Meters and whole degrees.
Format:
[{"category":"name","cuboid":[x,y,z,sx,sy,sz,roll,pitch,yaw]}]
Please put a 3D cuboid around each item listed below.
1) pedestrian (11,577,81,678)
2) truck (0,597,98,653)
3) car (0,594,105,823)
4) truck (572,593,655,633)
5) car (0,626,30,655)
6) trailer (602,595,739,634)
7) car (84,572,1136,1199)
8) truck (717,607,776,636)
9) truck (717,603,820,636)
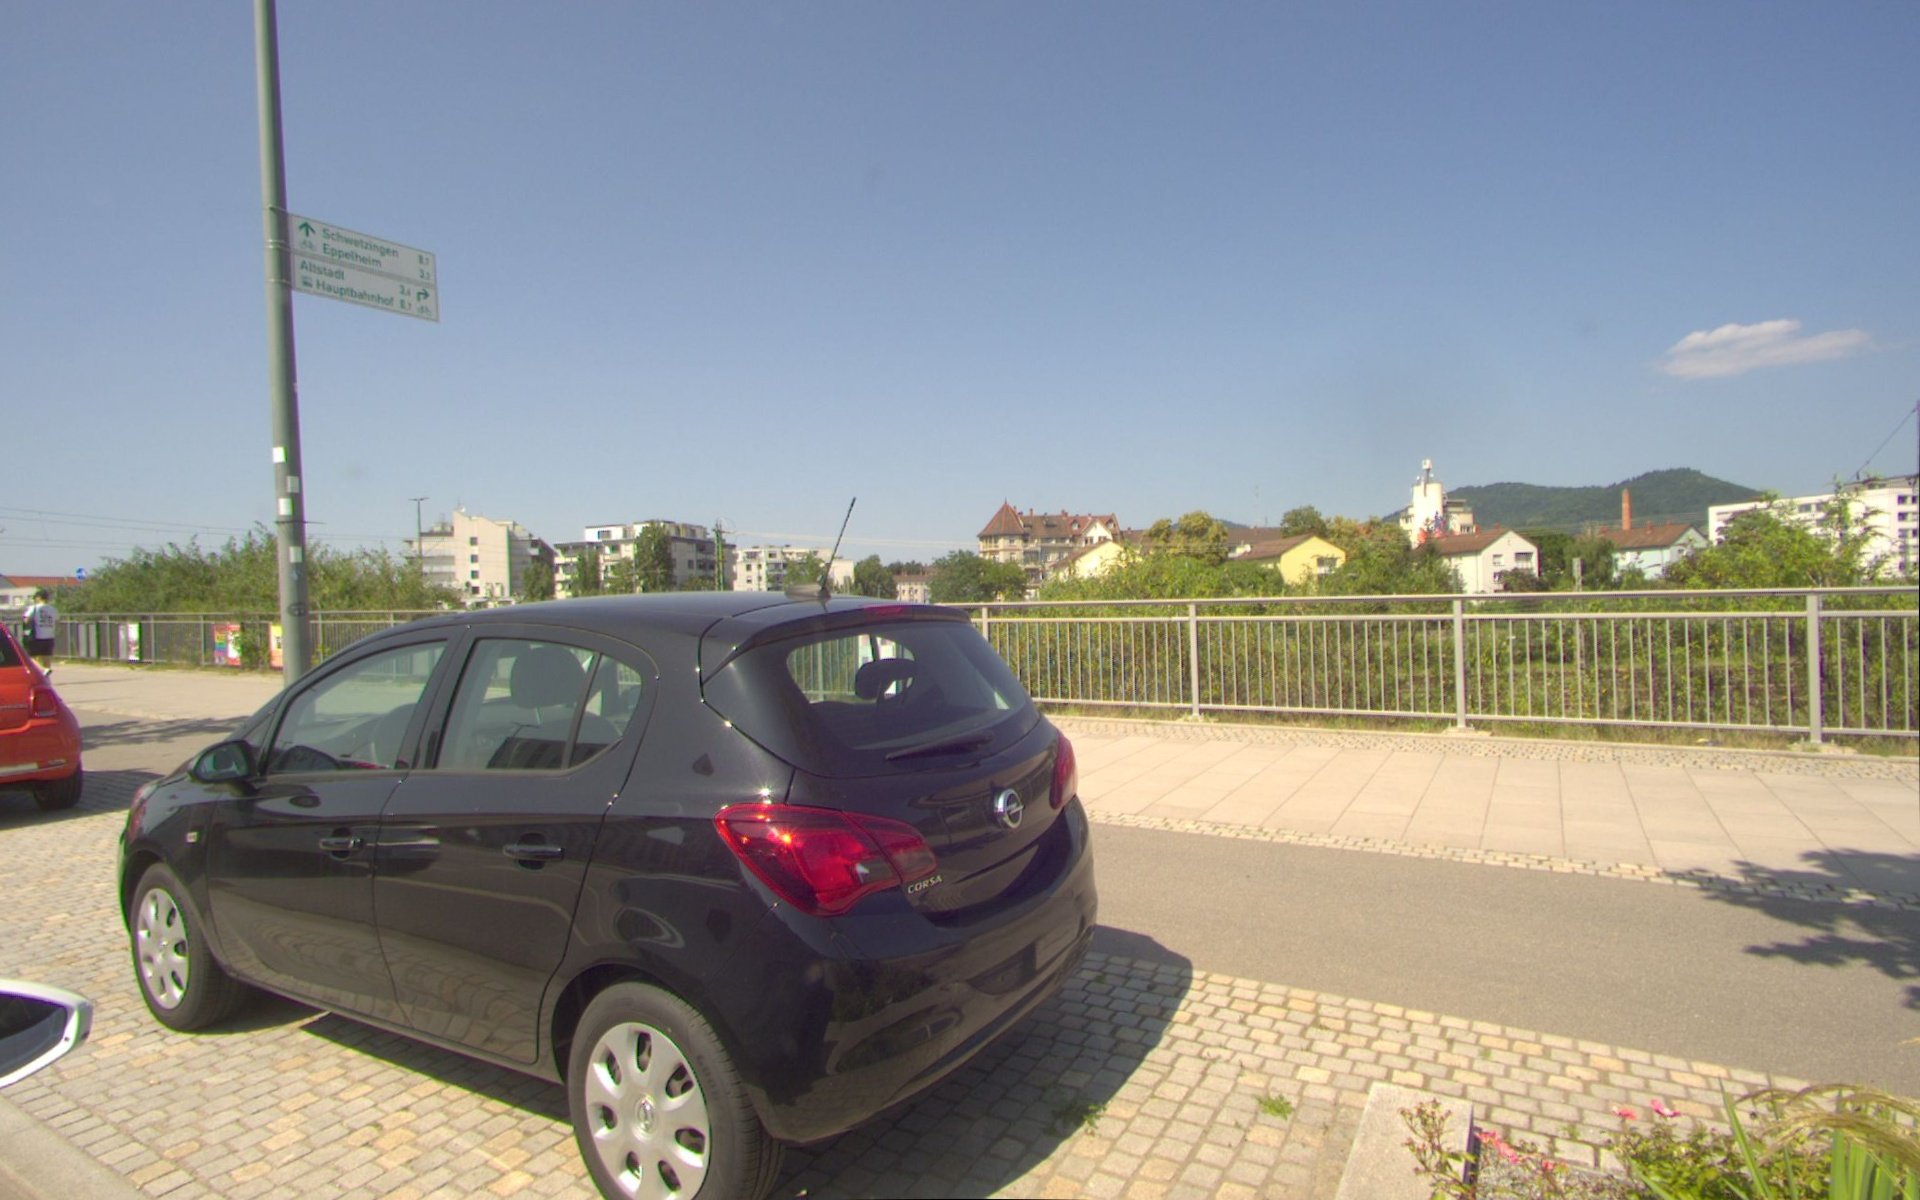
[{"category":"pedestrian","cuboid":[-17.244,0.536,18.901,0.872,1.853,0.757,-1,-2,32]},{"category":"truck","cuboid":[-44.752,1.248,48.127,1.964,2.572,4.705,-1,-2,17]},{"category":"car","cuboid":[-8.354,0.756,7.806,3.864,1.561,1.664,1,2,36]},{"category":"truck","cuboid":[-29.520,1.182,85.671,3.672,3.244,6.485,-1,-2,17]},{"category":"car","cuboid":[-56.706,2.346,57.672,1.963,1.695,4.257,-1,-2,15]},{"category":"trailer","cuboid":[-26.858,1.550,94.593,3.674,3.243,17.244,-1,-3,17]},{"category":"car","cuboid":[-1.333,0.746,3.491,3.495,1.577,1.577,-1,2,32]},{"category":"truck","cuboid":[-25.275,2.583,119.008,2.459,3.197,9.899,-1,-2,16]},{"category":"truck","cuboid":[-21.348,2.355,113.733,3.674,3.243,17.876,-1,-3,17]}]
